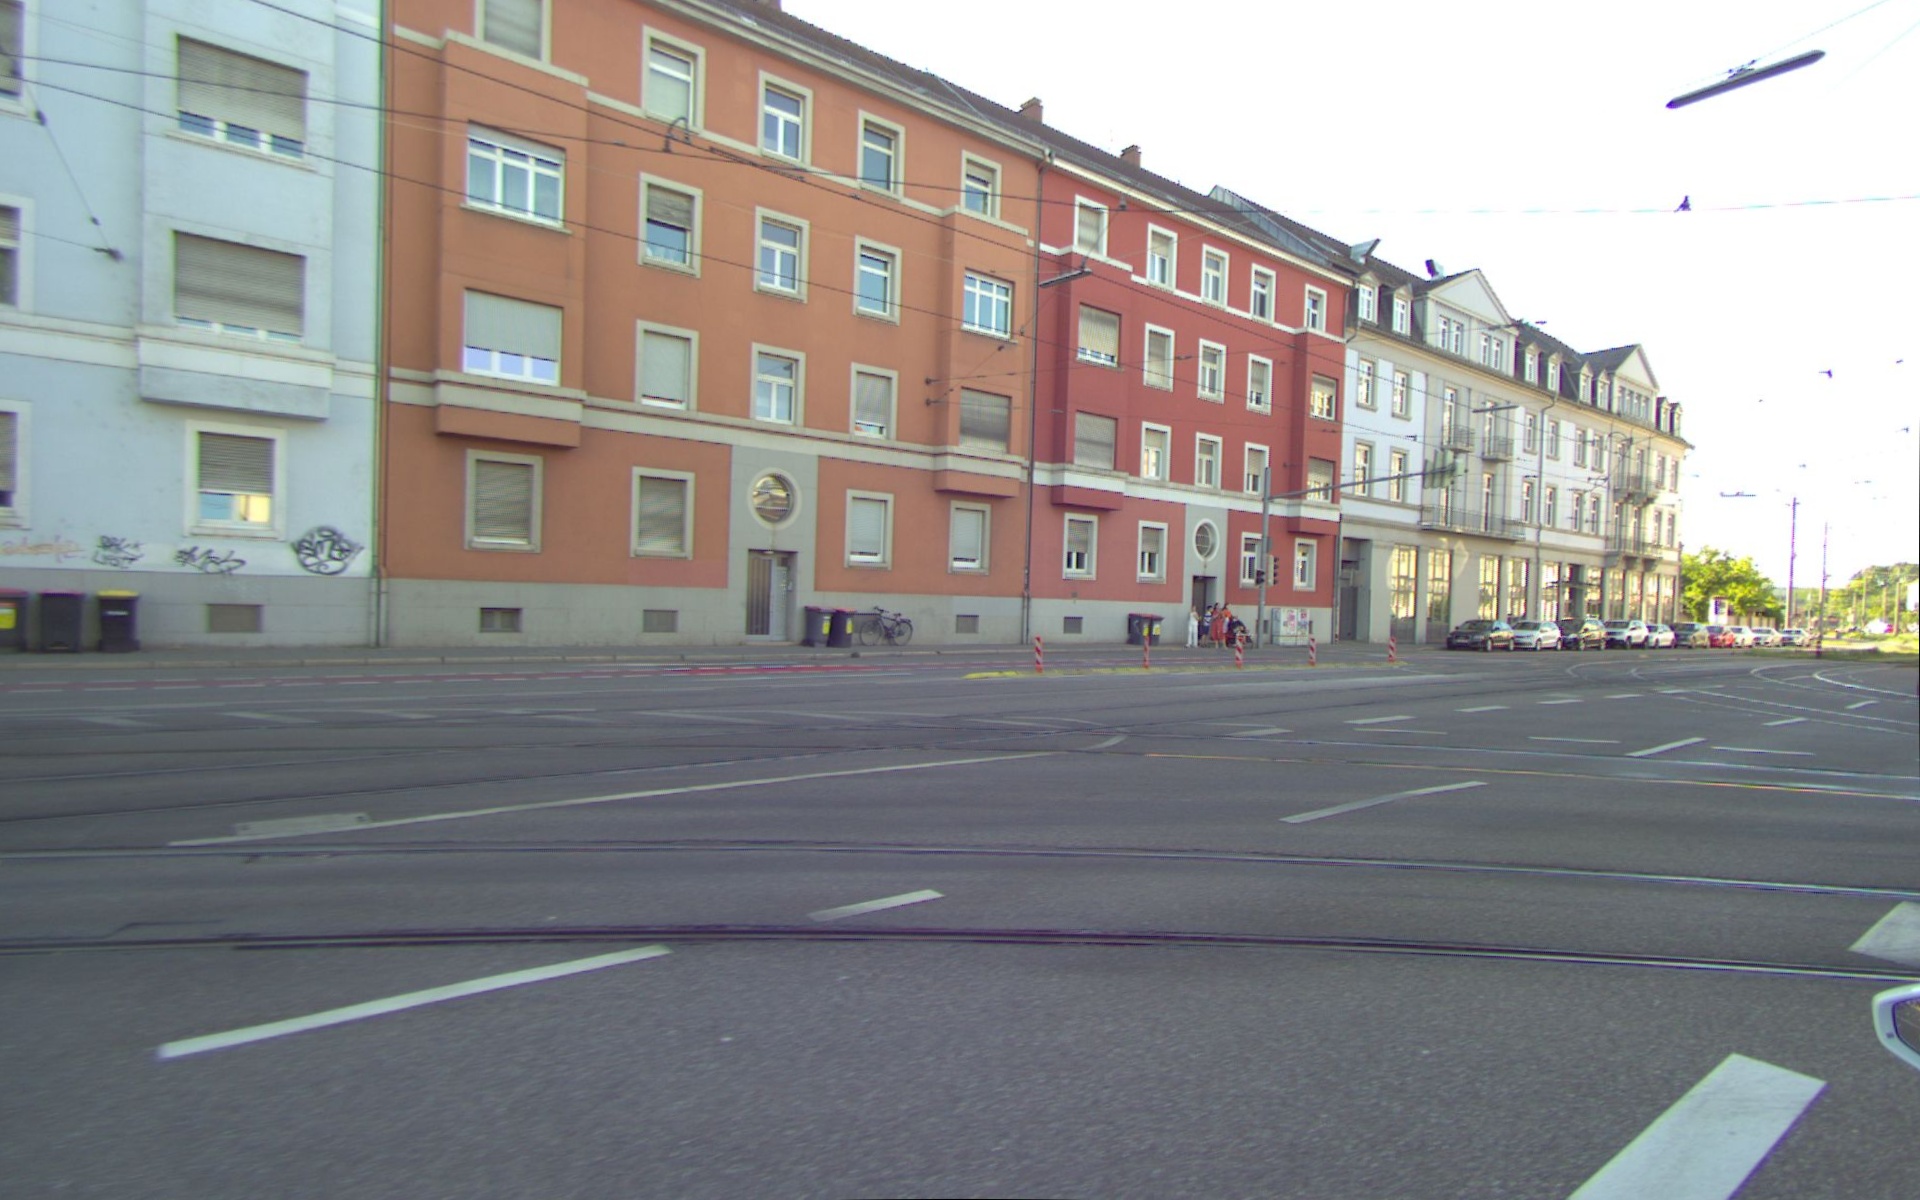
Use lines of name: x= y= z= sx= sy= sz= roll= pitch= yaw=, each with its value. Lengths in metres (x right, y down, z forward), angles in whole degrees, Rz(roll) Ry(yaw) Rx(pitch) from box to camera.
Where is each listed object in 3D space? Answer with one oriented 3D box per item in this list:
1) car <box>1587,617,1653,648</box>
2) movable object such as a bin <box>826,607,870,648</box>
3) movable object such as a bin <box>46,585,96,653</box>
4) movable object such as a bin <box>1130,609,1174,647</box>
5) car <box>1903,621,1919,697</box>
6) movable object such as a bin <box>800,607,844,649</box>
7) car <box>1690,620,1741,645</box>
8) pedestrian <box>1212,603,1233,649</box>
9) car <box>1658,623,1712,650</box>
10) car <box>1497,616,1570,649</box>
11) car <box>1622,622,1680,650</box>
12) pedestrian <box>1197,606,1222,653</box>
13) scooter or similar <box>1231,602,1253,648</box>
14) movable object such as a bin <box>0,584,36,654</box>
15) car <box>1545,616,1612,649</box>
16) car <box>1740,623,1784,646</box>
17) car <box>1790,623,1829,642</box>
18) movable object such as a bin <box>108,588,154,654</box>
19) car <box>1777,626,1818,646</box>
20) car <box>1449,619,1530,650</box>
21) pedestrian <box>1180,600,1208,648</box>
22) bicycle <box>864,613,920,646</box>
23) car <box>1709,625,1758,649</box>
car: x=36.619 y=1.807 z=55.665 sx=4.237 sy=1.572 sz=1.821 roll=2 pitch=0 yaw=-39
movable object such as a bin: x=-2.984 y=0.739 z=26.795 sx=0.805 sy=1.054 sz=0.835 roll=2 pitch=0 yaw=-42
movable object such as a bin: x=-15.179 y=0.321 z=17.159 sx=0.577 sy=1.121 sz=0.696 roll=2 pitch=1 yaw=-38
movable object such as a bin: x=6.637 y=0.961 z=34.673 sx=1.220 sy=1.266 sz=0.866 roll=2 pitch=0 yaw=-32
car: x=21.745 y=1.285 z=21.350 sx=4.055 sy=1.549 sz=1.931 roll=1 pitch=1 yaw=-39
movable object such as a bin: x=-3.604 y=0.738 z=26.224 sx=0.805 sy=1.054 sz=0.835 roll=2 pitch=0 yaw=-42
car: x=49.284 y=2.119 z=65.485 sx=3.965 sy=1.572 sz=1.706 roll=2 pitch=0 yaw=-39
pedestrian: x=9.655 y=0.954 z=36.934 sx=0.642 sy=1.655 sz=0.795 roll=2 pitch=1 yaw=20
car: x=44.638 y=2.245 z=61.833 sx=3.965 sy=1.572 sz=1.706 roll=2 pitch=0 yaw=-39
car: x=27.606 y=1.557 z=48.325 sx=3.965 sy=1.471 sz=1.706 roll=2 pitch=0 yaw=-39
car: x=40.537 y=2.109 z=58.918 sx=3.965 sy=1.572 sz=1.706 roll=2 pitch=0 yaw=-39
pedestrian: x=8.944 y=1.049 z=36.016 sx=0.814 sy=1.655 sz=0.796 roll=2 pitch=1 yaw=14
scooter or similar: x=10.305 y=0.900 z=36.708 sx=0.642 sy=1.655 sz=0.795 roll=2 pitch=1 yaw=20
movable object such as a bin: x=-15.781 y=0.312 z=16.666 sx=0.577 sy=1.121 sz=0.696 roll=2 pitch=1 yaw=-38
car: x=31.551 y=1.669 z=51.243 sx=3.822 sy=1.572 sz=1.706 roll=2 pitch=0 yaw=-39
car: x=59.050 y=2.550 z=73.933 sx=3.965 sy=1.572 sz=1.706 roll=2 pitch=0 yaw=-38
car: x=71.764 y=2.748 z=84.832 sx=3.965 sy=1.572 sz=1.706 roll=2 pitch=0 yaw=-39
movable object such as a bin: x=-14.550 y=0.361 z=17.640 sx=0.577 sy=1.121 sz=0.696 roll=2 pitch=1 yaw=-38
car: x=67.359 y=2.889 z=80.777 sx=3.965 sy=1.572 sz=1.706 roll=2 pitch=0 yaw=-39
car: x=23.513 y=1.529 z=44.566 sx=3.965 sy=1.249 sz=1.706 roll=2 pitch=0 yaw=-39
pedestrian: x=8.265 y=0.849 z=35.456 sx=0.781 sy=1.655 sz=0.653 roll=2 pitch=1 yaw=30
bicycle: x=-1.887 y=0.830 z=27.939 sx=1.588 sy=0.902 sz=0.332 roll=2 pitch=0 yaw=-34
car: x=52.824 y=2.532 z=68.584 sx=3.965 sy=1.572 sz=1.706 roll=2 pitch=0 yaw=-39
